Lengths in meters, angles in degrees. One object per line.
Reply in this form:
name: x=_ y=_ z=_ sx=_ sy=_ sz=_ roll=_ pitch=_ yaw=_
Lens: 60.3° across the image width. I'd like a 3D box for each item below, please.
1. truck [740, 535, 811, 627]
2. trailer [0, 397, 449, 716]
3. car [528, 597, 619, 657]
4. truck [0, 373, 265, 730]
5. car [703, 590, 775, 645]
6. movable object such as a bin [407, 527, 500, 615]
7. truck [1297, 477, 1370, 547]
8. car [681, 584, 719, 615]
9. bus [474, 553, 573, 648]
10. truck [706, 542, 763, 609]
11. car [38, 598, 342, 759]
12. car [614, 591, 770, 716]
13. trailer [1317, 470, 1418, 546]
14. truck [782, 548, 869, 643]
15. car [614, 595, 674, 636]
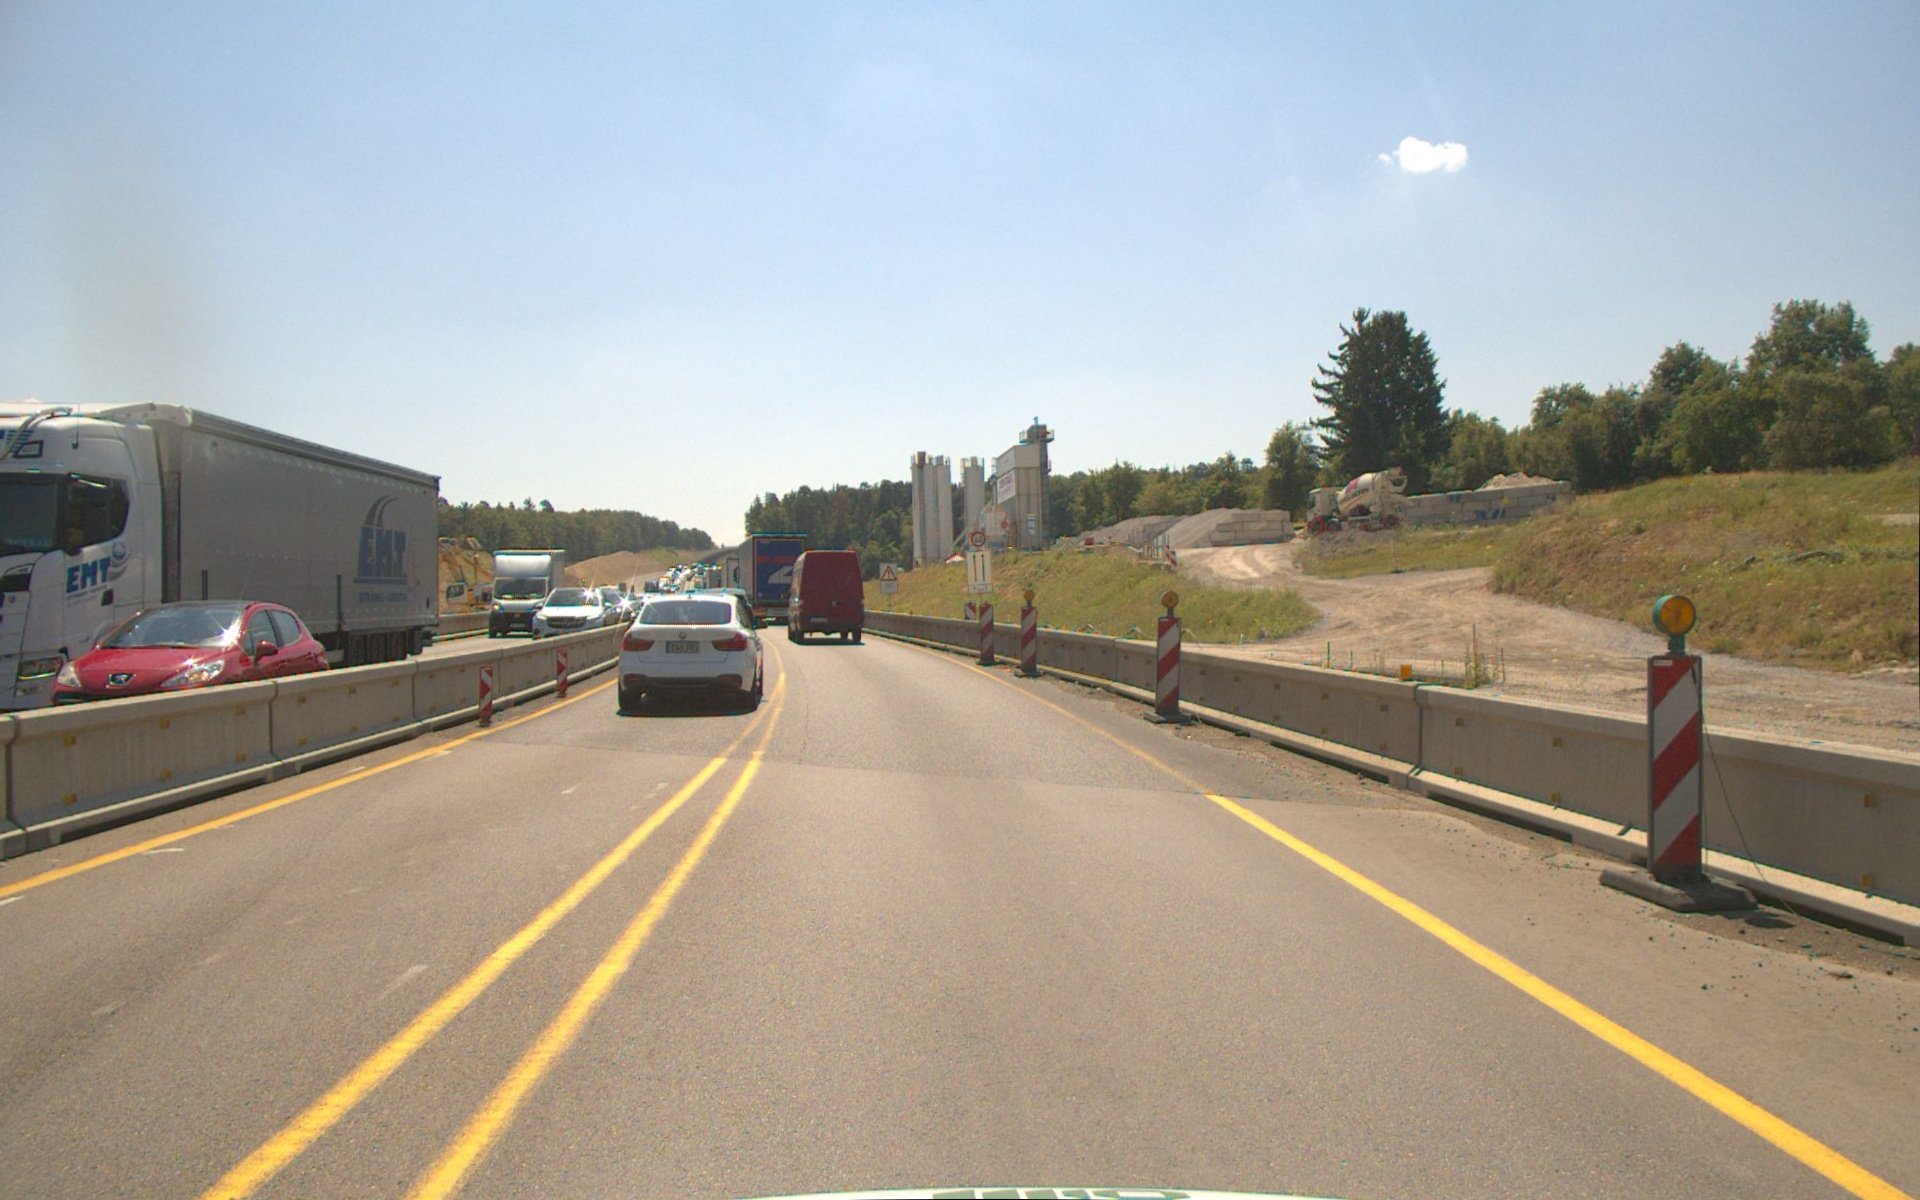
truck: x=-9.114 y=-0.888 z=80.991 sx=2.960 sy=4.225 sz=8.254 roll=-1 pitch=0 yaw=-9
trailer: x=-12.131 y=-0.609 z=28.930 sx=2.705 sy=4.186 sz=13.969 roll=-1 pitch=0 yaw=-3
car: x=-10.488 y=0.693 z=45.172 sx=1.761 sy=1.501 sz=4.771 roll=-1 pitch=0 yaw=-6
truck: x=-11.727 y=-0.558 z=21.948 sx=2.646 sy=4.133 sz=5.500 roll=-1 pitch=0 yaw=-1
car: x=-6.700 y=0.507 z=50.408 sx=1.759 sy=1.561 sz=3.929 roll=-1 pitch=0 yaw=-2
movable object such as a bin: x=-46.266 y=-2.658 z=151.332 sx=7.495 sy=7.848 sz=3.439 roll=-1 pitch=0 yaw=-9
truck: x=23.432 y=-5.492 z=103.774 sx=2.703 sy=4.167 sz=4.078 roll=-1 pitch=0 yaw=-19
car: x=-13.761 y=-0.031 z=87.589 sx=1.767 sy=1.607 sz=3.994 roll=-1 pitch=0 yaw=-6
bus: x=-15.629 y=-0.008 z=59.650 sx=2.304 sy=3.180 sz=7.219 roll=-1 pitch=0 yaw=-6
truck: x=-16.925 y=-1.818 z=124.721 sx=3.612 sy=4.773 sz=9.742 roll=-1 pitch=0 yaw=-5
car: x=-8.166 y=0.752 z=17.946 sx=1.635 sy=1.501 sz=3.967 roll=-1 pitch=0 yaw=-4
car: x=-3.648 y=0.663 z=23.243 sx=1.760 sy=1.561 sz=5.068 roll=0 pitch=0 yaw=-5
trailer: x=24.610 y=-5.499 z=100.193 sx=2.714 sy=4.186 sz=6.710 roll=-1 pitch=0 yaw=-18
truck: x=-4.206 y=-0.137 z=50.627 sx=2.073 sy=2.679 sz=6.469 roll=-1 pitch=0 yaw=-9
car: x=-11.918 y=0.548 z=62.550 sx=1.773 sy=1.439 sz=4.394 roll=-1 pitch=0 yaw=-5
